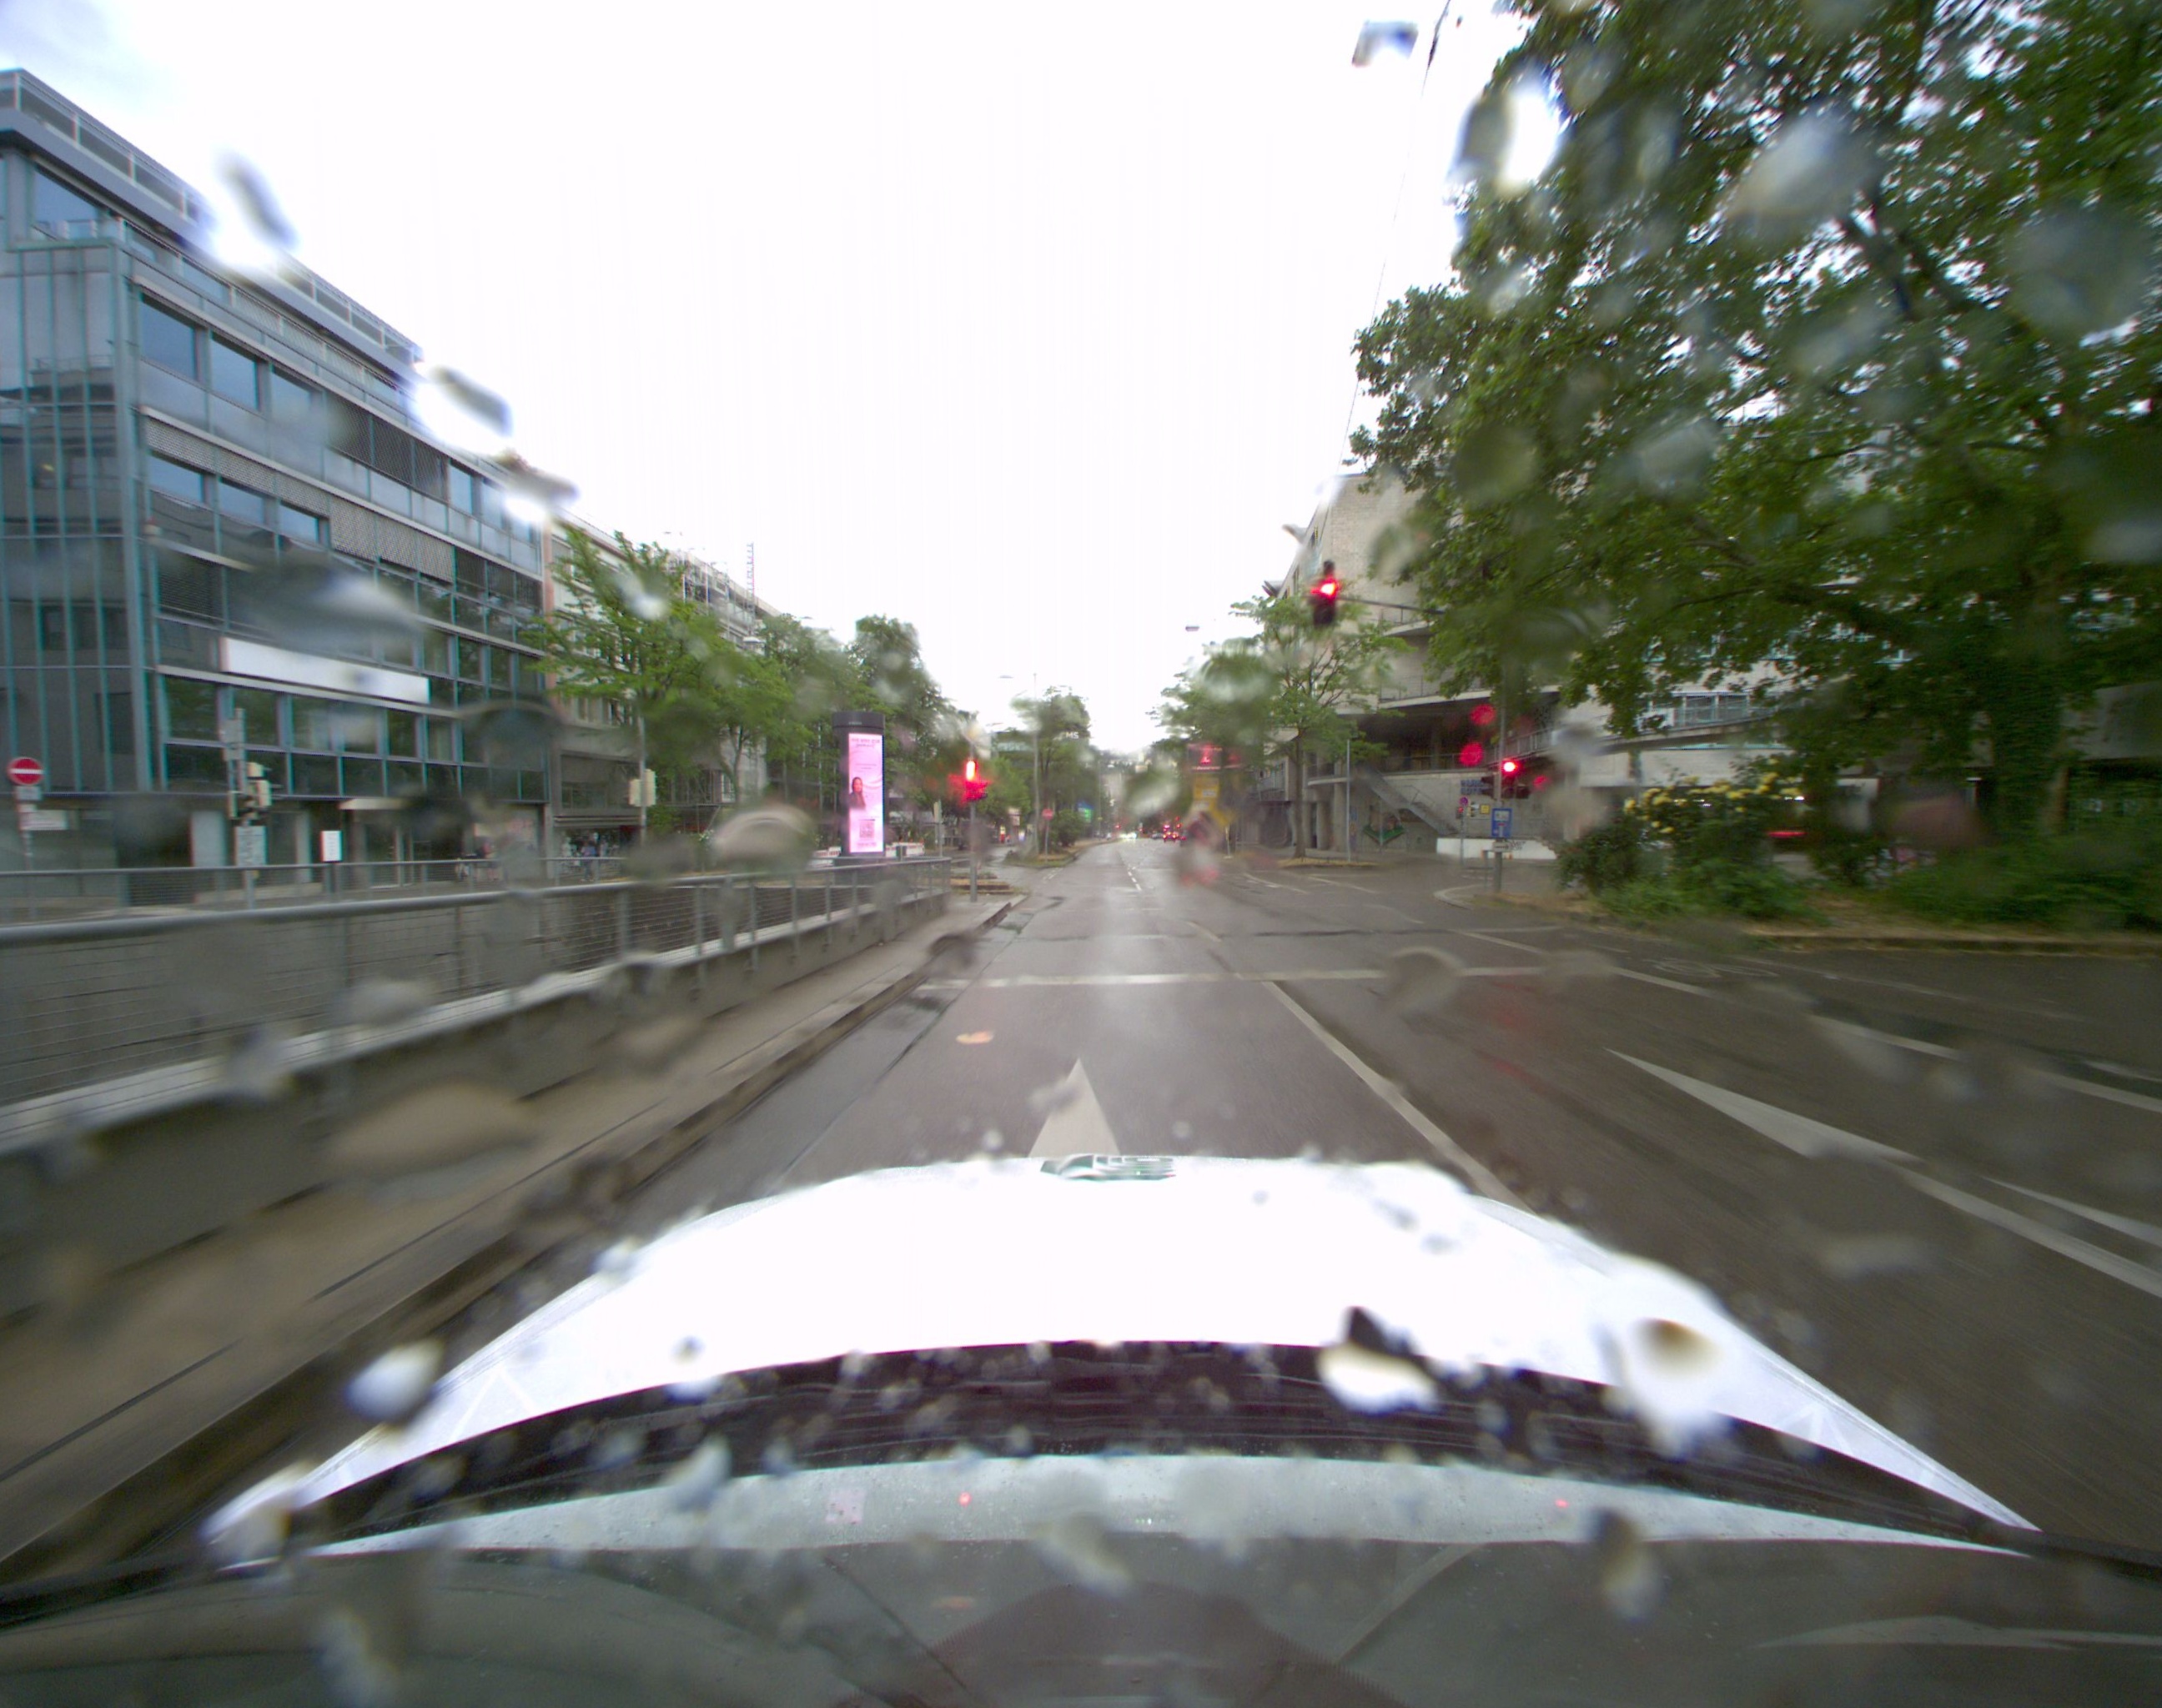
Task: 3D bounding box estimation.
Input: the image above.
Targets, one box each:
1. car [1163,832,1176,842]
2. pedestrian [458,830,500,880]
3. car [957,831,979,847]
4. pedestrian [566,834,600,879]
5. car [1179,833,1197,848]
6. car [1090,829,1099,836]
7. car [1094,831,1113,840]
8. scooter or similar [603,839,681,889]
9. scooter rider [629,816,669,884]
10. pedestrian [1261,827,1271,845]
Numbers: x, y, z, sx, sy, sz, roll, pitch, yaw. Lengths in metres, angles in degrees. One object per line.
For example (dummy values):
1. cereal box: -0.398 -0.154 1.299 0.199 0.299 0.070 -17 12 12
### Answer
1. car: 14.071 -2.654 129.716 1.739 1.519 4.109 0 1 2
2. pedestrian: -22.795 0.022 30.832 0.857 1.868 0.965 1 1 20
3. car: -12.390 -1.678 89.587 1.774 1.555 3.895 0 3 1
4. pedestrian: -21.118 0.103 34.531 0.873 1.868 0.867 1 1 2
5. car: 11.725 -1.472 89.229 1.892 1.683 3.918 0 1 6
6. car: 3.862 -6.079 230.069 2.118 2.164 5.204 0 1 5
7. car: 5.156 -4.218 185.474 4.048 1.904 1.951 0 1 -5
8. scooter or similar: -12.928 0.270 24.022 0.541 1.418 1.967 1 1 40
9. scooter rider: -12.805 -0.123 24.152 0.801 1.948 0.827 1 1 41
10. pedestrian: 16.693 -1.609 73.430 0.782 1.557 0.534 0 1 6
